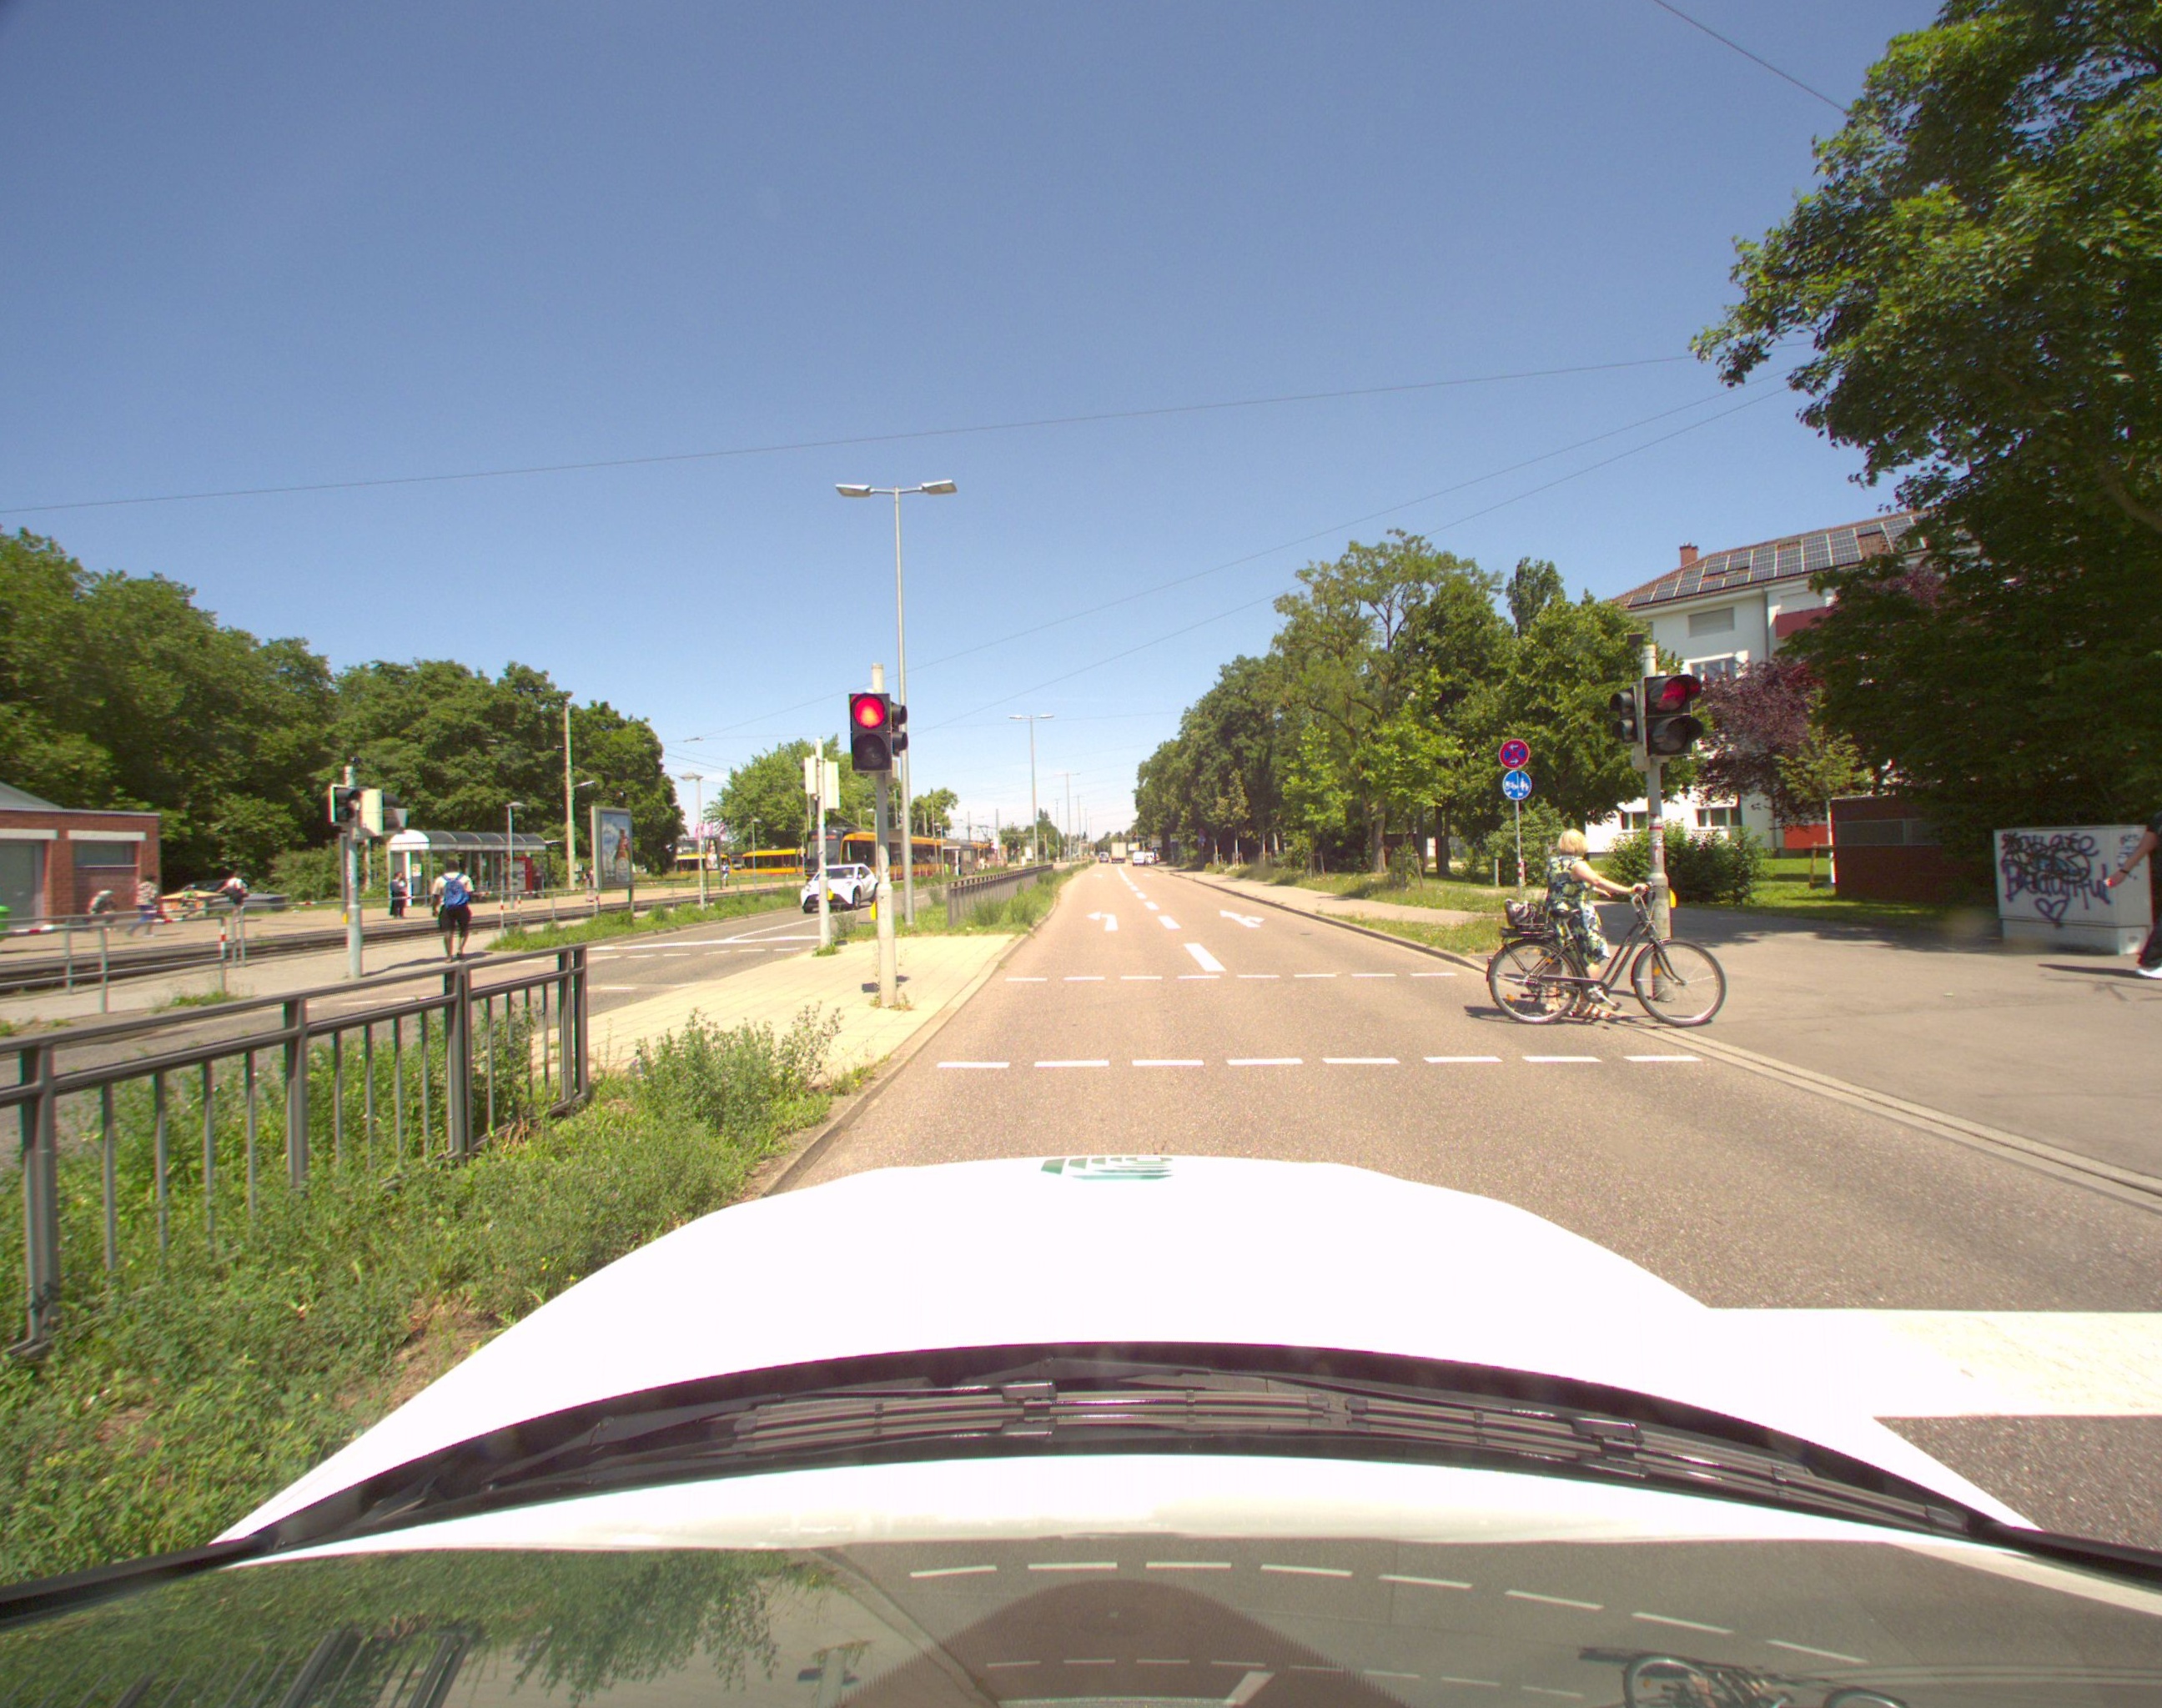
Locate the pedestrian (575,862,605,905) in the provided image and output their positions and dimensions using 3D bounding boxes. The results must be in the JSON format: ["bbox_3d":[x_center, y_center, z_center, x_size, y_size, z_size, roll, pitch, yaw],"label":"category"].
[{"bbox_3d":[-21.222,1.252,35.181,0.715,1.777,0.843,3,2,1],"label":"pedestrian"}]

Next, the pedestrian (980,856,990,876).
[{"bbox_3d":[-9.921,1.243,84.064,0.812,2.013,0.939,-2,0,1],"label":"pedestrian"}]

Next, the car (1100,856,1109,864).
[{"bbox_3d":[4.542,1.178,158.005,1.804,1.464,4.002,-2,0,2],"label":"car"}]

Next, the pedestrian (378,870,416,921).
[{"bbox_3d":[-21.547,1.292,25.660,0.635,1.555,0.691,-2,0,-11],"label":"pedestrian"}]

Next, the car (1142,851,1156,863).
[{"bbox_3d":[9.894,0.465,118.761,1.773,1.668,4.002,-2,0,2],"label":"car"}]

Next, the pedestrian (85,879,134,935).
[{"bbox_3d":[-26.684,1.438,22.379,0.636,1.480,0.570,-2,0,1],"label":"pedestrian"}]

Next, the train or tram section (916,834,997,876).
[{"bbox_3d":[-12.977,0.100,90.428,2.920,3.789,33.098,-2,0,2],"label":"train or tram section"}]

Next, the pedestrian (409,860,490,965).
[{"bbox_3d":[-11.185,1.014,14.445,0.837,1.777,0.720,0,2,1],"label":"pedestrian"}]

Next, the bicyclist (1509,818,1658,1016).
[{"bbox_3d":[4.442,0.551,7.269,0.949,1.667,0.583,-3,-2,18],"label":"bicyclist"}]

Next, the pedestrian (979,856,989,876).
[{"bbox_3d":[-10.141,1.255,85.364,0.812,2.013,0.939,-2,0,1],"label":"pedestrian"}]

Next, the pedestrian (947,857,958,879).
[{"bbox_3d":[-10.988,1.203,69.727,0.783,1.868,0.818,-2,0,1],"label":"pedestrian"}]

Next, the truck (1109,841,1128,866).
[{"bbox_3d":[6.760,-0.076,146.192,3.193,4.359,6.563,-2,0,2],"label":"truck"}]

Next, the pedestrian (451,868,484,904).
[{"bbox_3d":[-26.289,1.373,34.893,0.836,1.511,0.723,-2,0,12],"label":"pedestrian"}]

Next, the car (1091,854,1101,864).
[{"bbox_3d":[3.308,1.104,175.331,1.986,2.013,4.002,-2,0,2],"label":"car"}]

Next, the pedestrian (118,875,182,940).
[{"bbox_3d":[-23.629,1.338,20.678,0.669,1.590,0.808,-2,0,1],"label":"pedestrian"}]

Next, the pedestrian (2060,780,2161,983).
[{"bbox_3d":[10.034,0.216,7.361,1.174,1.778,0.845,-4,-2,26],"label":"pedestrian"}]

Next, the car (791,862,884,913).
[{"bbox_3d":[-8.080,1.077,27.372,1.838,1.494,3.793,-2,0,2],"label":"car"}]

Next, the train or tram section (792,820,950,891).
[{"bbox_3d":[-13.781,0.108,58.953,2.947,3.749,30.038,-2,0,1],"label":"train or tram section"}]

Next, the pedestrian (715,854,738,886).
[{"bbox_3d":[-22.589,1.000,51.889,0.977,2.013,1.021,-2,0,1],"label":"pedestrian"}]

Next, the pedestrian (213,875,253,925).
[{"bbox_3d":[-25.821,1.393,24.797,0.634,1.456,0.585,-2,0,16],"label":"pedestrian"}]

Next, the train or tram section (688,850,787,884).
[{"bbox_3d":[-42.927,1.714,101.083,18.262,3.931,3.246,-2,0,40],"label":"train or tram section"}]

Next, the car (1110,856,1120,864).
[{"bbox_3d":[6.471,1.151,153.688,1.804,1.464,4.002,-2,0,2],"label":"car"}]

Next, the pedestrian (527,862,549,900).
[{"bbox_3d":[-25.881,1.277,38.789,0.725,1.800,0.835,-1,-1,-41],"label":"pedestrian"}]

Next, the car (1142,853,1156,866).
[{"bbox_3d":[9.373,0.723,112.420,1.773,1.668,4.002,-2,0,2],"label":"car"}]

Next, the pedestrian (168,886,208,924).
[{"bbox_3d":[-27.555,1.562,25.133,0.634,1.124,0.572,-2,0,16],"label":"pedestrian"}]

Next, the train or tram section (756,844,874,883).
[{"bbox_3d":[-29.477,1.156,89.157,18.262,3.931,3.246,-2,0,41],"label":"train or tram section"}]

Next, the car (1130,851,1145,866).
[{"bbox_3d":[7.285,0.566,105.539,1.773,1.903,4.002,-2,0,2],"label":"car"}]

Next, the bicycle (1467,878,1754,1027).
[{"bbox_3d":[4.443,0.827,6.985,1.941,1.161,0.543,-3,-2,18],"label":"bicycle"}]

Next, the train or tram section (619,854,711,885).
[{"bbox_3d":[-57.881,2.268,112.817,18.259,3.931,3.247,-2,0,35],"label":"train or tram section"}]

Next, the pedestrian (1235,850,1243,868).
[{"bbox_3d":[12.418,0.388,64.028,0.600,1.438,0.557,-2,0,8],"label":"pedestrian"}]
